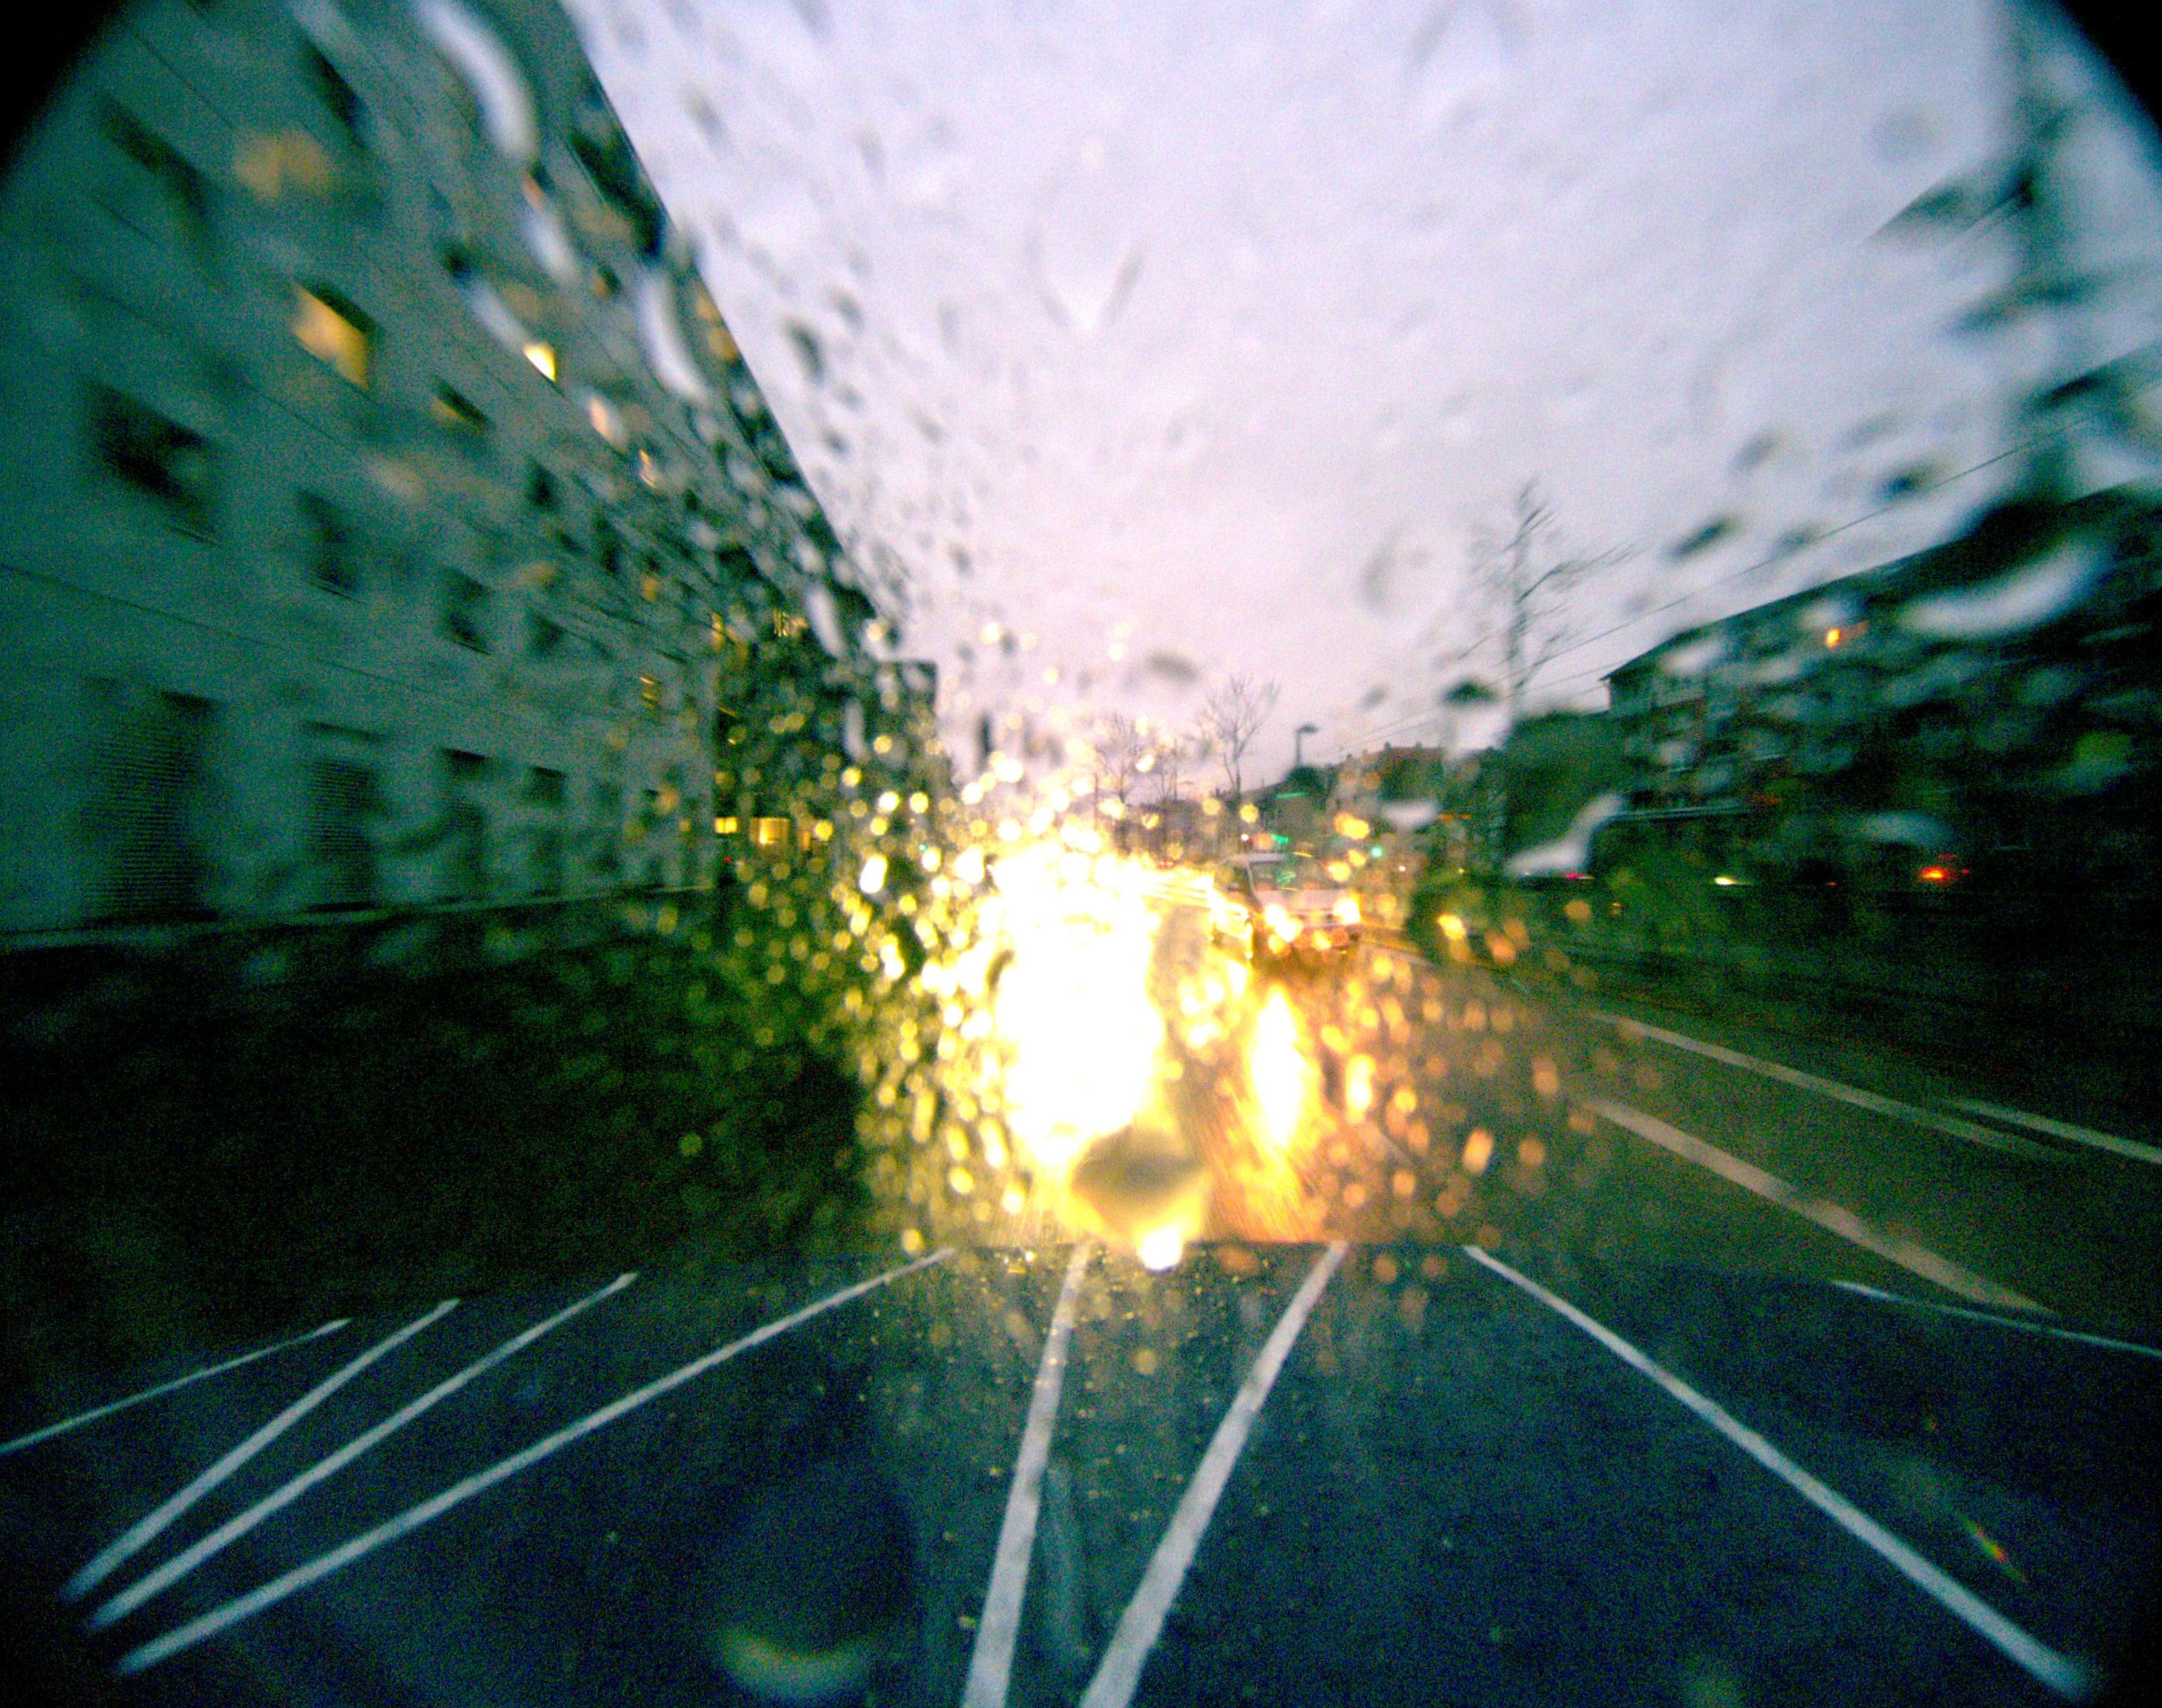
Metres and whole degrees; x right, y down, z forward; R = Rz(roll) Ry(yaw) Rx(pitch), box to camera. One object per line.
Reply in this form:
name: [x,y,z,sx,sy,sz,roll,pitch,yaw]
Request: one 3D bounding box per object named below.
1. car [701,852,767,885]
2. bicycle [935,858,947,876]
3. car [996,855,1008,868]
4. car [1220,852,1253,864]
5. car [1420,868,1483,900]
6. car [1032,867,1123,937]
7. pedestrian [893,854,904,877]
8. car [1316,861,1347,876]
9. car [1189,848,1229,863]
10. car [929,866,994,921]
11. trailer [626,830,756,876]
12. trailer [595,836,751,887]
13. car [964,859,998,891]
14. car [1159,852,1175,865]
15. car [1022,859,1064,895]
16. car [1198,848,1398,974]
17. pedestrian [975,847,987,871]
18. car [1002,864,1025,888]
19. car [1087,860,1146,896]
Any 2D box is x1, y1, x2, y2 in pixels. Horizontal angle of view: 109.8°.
car: [-16.280,0.650,35.898,1.637,1.363,4.526,1,1,-8]
bicycle: [-9.145,0.862,49.646,0.552,1.109,2.164,1,1,-6]
car: [-10.558,1.031,102.020,1.494,1.585,3.997,-2,1,-5]
car: [20.612,0.529,100.911,4.002,1.496,1.315,-1,2,29]
car: [23.354,1.837,48.022,1.696,1.749,3.997,-2,1,-6]
car: [-0.189,1.054,18.230,1.758,1.418,3.802,-2,0,-6]
pedestrian: [-14.615,0.911,60.762,0.739,1.726,0.702,-2,2,-9]
car: [17.647,1.007,53.605,1.147,0.932,2.490,-1,1,-6]
car: [20.211,0.187,120.018,5.894,2.242,1.824,-1,2,27]
car: [-3.250,1.038,21.180,1.596,1.386,3.485,1,-1,-6]
trailer: [-22.285,-0.051,43.675,6.279,2.566,2.208,0,0,-10]
trailer: [-16.267,0.318,30.474,5.080,1.900,2.130,-1,-1,-1]
car: [-5.071,1.036,39.035,1.601,1.432,4.225,-2,1,-6]
car: [11.999,0.592,105.957,1.527,1.630,3.747,-1,1,-5]
car: [-1.856,1.061,36.289,1.765,1.520,3.732,-2,1,-6]
car: [3.374,0.782,12.684,2.021,1.667,3.998,-2,1,-3]
pedestrian: [-7.735,0.353,58.693,0.773,1.798,0.698,3,1,-9]
car: [-5.203,1.686,58.995,1.610,1.666,3.683,-2,1,-3]
car: [1.524,1.048,34.565,1.976,1.492,4.089,-2,0,-7]
